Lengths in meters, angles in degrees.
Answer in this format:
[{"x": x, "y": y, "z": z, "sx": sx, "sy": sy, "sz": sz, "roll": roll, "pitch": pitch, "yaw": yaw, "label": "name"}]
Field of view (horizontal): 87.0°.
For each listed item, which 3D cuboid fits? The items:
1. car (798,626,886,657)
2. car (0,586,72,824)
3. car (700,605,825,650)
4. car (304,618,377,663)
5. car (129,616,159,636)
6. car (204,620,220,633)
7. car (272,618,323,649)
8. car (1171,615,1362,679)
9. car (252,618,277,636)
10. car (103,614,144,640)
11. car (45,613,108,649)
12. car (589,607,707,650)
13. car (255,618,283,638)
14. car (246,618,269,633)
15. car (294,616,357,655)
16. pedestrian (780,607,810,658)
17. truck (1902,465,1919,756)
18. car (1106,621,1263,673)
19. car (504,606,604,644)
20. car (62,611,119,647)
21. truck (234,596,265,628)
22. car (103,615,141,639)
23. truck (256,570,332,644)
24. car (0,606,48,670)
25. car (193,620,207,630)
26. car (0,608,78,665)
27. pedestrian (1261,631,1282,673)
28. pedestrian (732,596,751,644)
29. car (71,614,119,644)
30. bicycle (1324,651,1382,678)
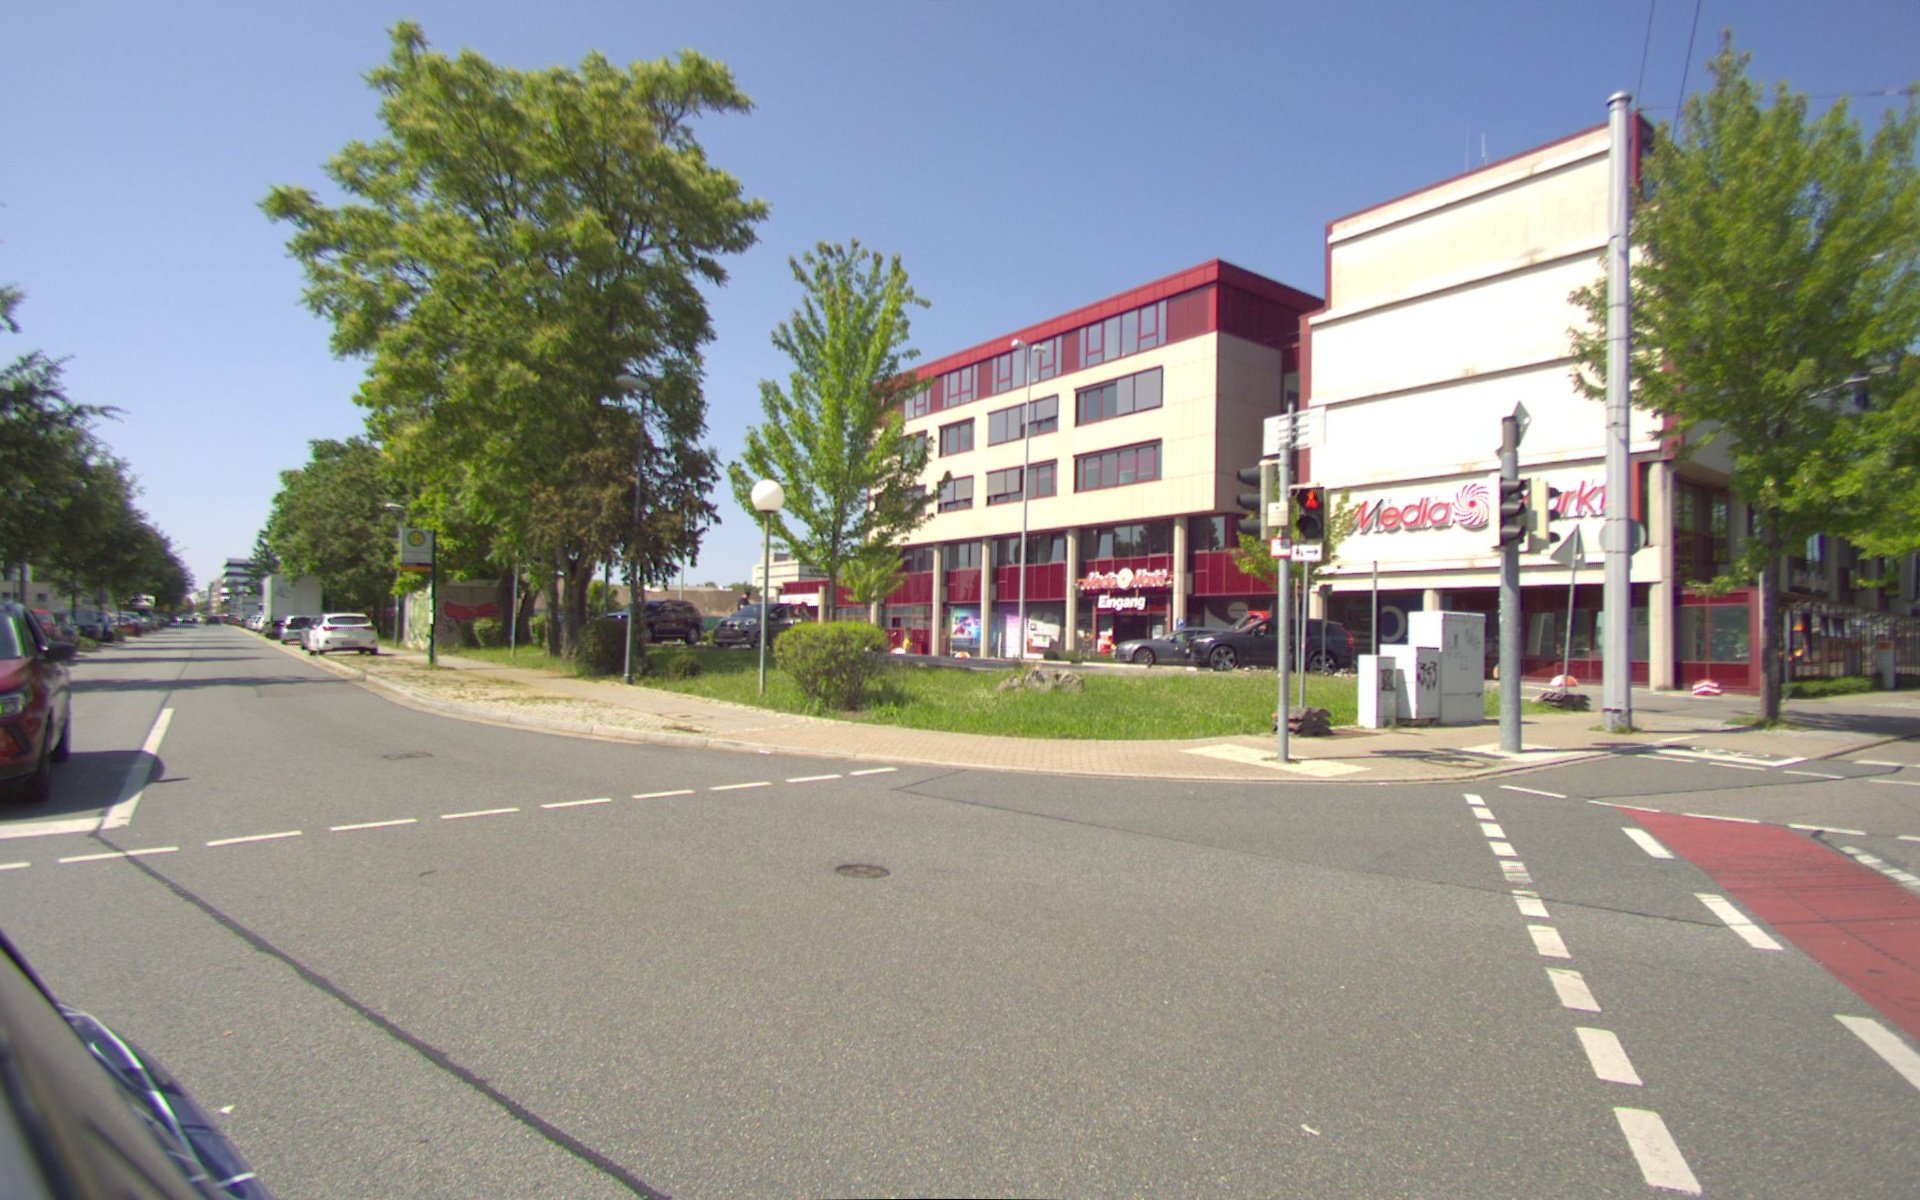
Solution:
[{"x": -5.992, "y": 2.111, "z": 51.524, "sx": 4.187, "sy": 1.462, "sz": 1.719, "roll": 1, "pitch": -2, "yaw": 6, "label": "car"}, {"x": -8.427, "y": 0.756, "z": 8.108, "sx": 1.794, "sy": 1.616, "sz": 4.315, "roll": 1, "pitch": -2, "yaw": -39, "label": "car"}, {"x": -6.172, "y": 0.850, "z": 32.003, "sx": 1.712, "sy": 1.348, "sz": 3.947, "roll": -1, "pitch": -1, "yaw": 31, "label": "car"}, {"x": -21.855, "y": 1.388, "z": 35.653, "sx": 1.738, "sy": 1.504, "sz": 4.008, "roll": 1, "pitch": -1, "yaw": -38, "label": "car"}, {"x": -71.638, "y": 2.313, "z": 88.855, "sx": 1.818, "sy": 1.628, "sz": 4.008, "roll": 4, "pitch": -4, "yaw": -37, "label": "car"}, {"x": -108.009, "y": 3.837, "z": 146.201, "sx": 1.762, "sy": 1.807, "sz": 4.009, "roll": 2, "pitch": -2, "yaw": -36, "label": "car"}, {"x": -33.362, "y": 1.660, "z": 50.942, "sx": 1.787, "sy": 1.527, "sz": 4.008, "roll": 1, "pitch": -2, "yaw": -38, "label": "car"}, {"x": 9.191, "y": 1.442, "z": 30.631, "sx": 5.044, "sy": 1.606, "sz": 2.187, "roll": 3, "pitch": -4, "yaw": 0, "label": "car"}, {"x": -61.987, "y": 2.400, "z": 90.164, "sx": 1.786, "sy": 1.527, "sz": 4.009, "roll": 1, "pitch": -2, "yaw": -36, "label": "car"}, {"x": -55.470, "y": 1.817, "z": 67.148, "sx": 1.818, "sy": 1.628, "sz": 4.008, "roll": 4, "pitch": -4, "yaw": -37, "label": "car"}, {"x": -39.574, "y": 1.391, "z": 45.386, "sx": 1.840, "sy": 1.554, "sz": 4.008, "roll": 2, "pitch": -2, "yaw": -38, "label": "car"}, {"x": -11.779, "y": 1.064, "z": 38.565, "sx": 1.838, "sy": 1.504, "sz": 4.785, "roll": -1, "pitch": -1, "yaw": 19, "label": "car"}, {"x": -55.458, "y": 2.215, "z": 81.218, "sx": 1.786, "sy": 1.527, "sz": 4.009, "roll": 1, "pitch": -2, "yaw": -36, "label": "car"}, {"x": -69.562, "y": 2.524, "z": 100.190, "sx": 1.786, "sy": 1.527, "sz": 4.009, "roll": 1, "pitch": -2, "yaw": -36, "label": "car"}, {"x": -26.128, "y": 1.428, "z": 41.636, "sx": 1.787, "sy": 1.527, "sz": 4.008, "roll": 1, "pitch": -2, "yaw": -38, "label": "car"}, {"x": -5.063, "y": 0.989, "z": 31.105, "sx": 0.748, "sy": 1.539, "sz": 0.563, "roll": 0, "pitch": -2, "yaw": 8, "label": "pedestrian"}, {"x": 14.743, "y": 0.161, "z": 13.261, "sx": 4.959, "sy": 3.636, "sz": 2.757, "roll": 2, "pitch": -3, "yaw": -39, "label": "truck"}, {"x": 7.348, "y": 1.546, "z": 33.493, "sx": 4.809, "sy": 1.504, "sz": 1.915, "roll": 1, "pitch": -2, "yaw": 6, "label": "car"}, {"x": -20.501, "y": 1.293, "z": 51.334, "sx": 1.987, "sy": 1.818, "sz": 4.681, "roll": -1, "pitch": -3, "yaw": 22, "label": "car"}, {"x": -43.325, "y": 1.474, "z": 50.499, "sx": 1.818, "sy": 1.628, "sz": 4.008, "roll": 5, "pitch": -4, "yaw": -37, "label": "car"}, {"x": -79.051, "y": 1.392, "z": 112.691, "sx": 2.659, "sy": 3.345, "sz": 7.361, "roll": 2, "pitch": -2, "yaw": -34, "label": "truck"}, {"x": -60.602, "y": 1.991, "z": 73.241, "sx": 1.818, "sy": 1.628, "sz": 4.008, "roll": 4, "pitch": -4, "yaw": -37, "label": "car"}, {"x": -40.660, "y": 0.522, "z": 61.612, "sx": 3.301, "sy": 4.175, "sz": 9.298, "roll": 1, "pitch": -2, "yaw": -37, "label": "truck"}, {"x": -26.639, "y": 0.994, "z": 27.833, "sx": 1.818, "sy": 1.628, "sz": 4.379, "roll": 6, "pitch": -5, "yaw": -37, "label": "car"}, {"x": -138.816, "y": 4.638, "z": 184.908, "sx": 1.737, "sy": 1.807, "sz": 4.010, "roll": 2, "pitch": -2, "yaw": -35, "label": "car"}, {"x": -28.964, "y": 1.133, "z": 31.547, "sx": 1.818, "sy": 1.628, "sz": 4.008, "roll": 5, "pitch": -5, "yaw": -37, "label": "car"}, {"x": 10.379, "y": 1.731, "z": 33.742, "sx": 0.455, "sy": 1.366, "sz": 0.523, "roll": 1, "pitch": -2, "yaw": -20, "label": "pedestrian"}, {"x": -7.196, "y": 0.657, "z": 33.326, "sx": 0.555, "sy": 1.539, "sz": 0.759, "roll": 1, "pitch": -2, "yaw": -16, "label": "pedestrian"}, {"x": -50.748, "y": 1.702, "z": 59.418, "sx": 1.818, "sy": 1.628, "sz": 4.008, "roll": 4, "pitch": -4, "yaw": -37, "label": "car"}, {"x": 14.081, "y": 2.292, "z": 36.316, "sx": 0.716, "sy": 0.855, "sz": 1.847, "roll": 1, "pitch": 0, "yaw": -36, "label": "bicycle"}]
